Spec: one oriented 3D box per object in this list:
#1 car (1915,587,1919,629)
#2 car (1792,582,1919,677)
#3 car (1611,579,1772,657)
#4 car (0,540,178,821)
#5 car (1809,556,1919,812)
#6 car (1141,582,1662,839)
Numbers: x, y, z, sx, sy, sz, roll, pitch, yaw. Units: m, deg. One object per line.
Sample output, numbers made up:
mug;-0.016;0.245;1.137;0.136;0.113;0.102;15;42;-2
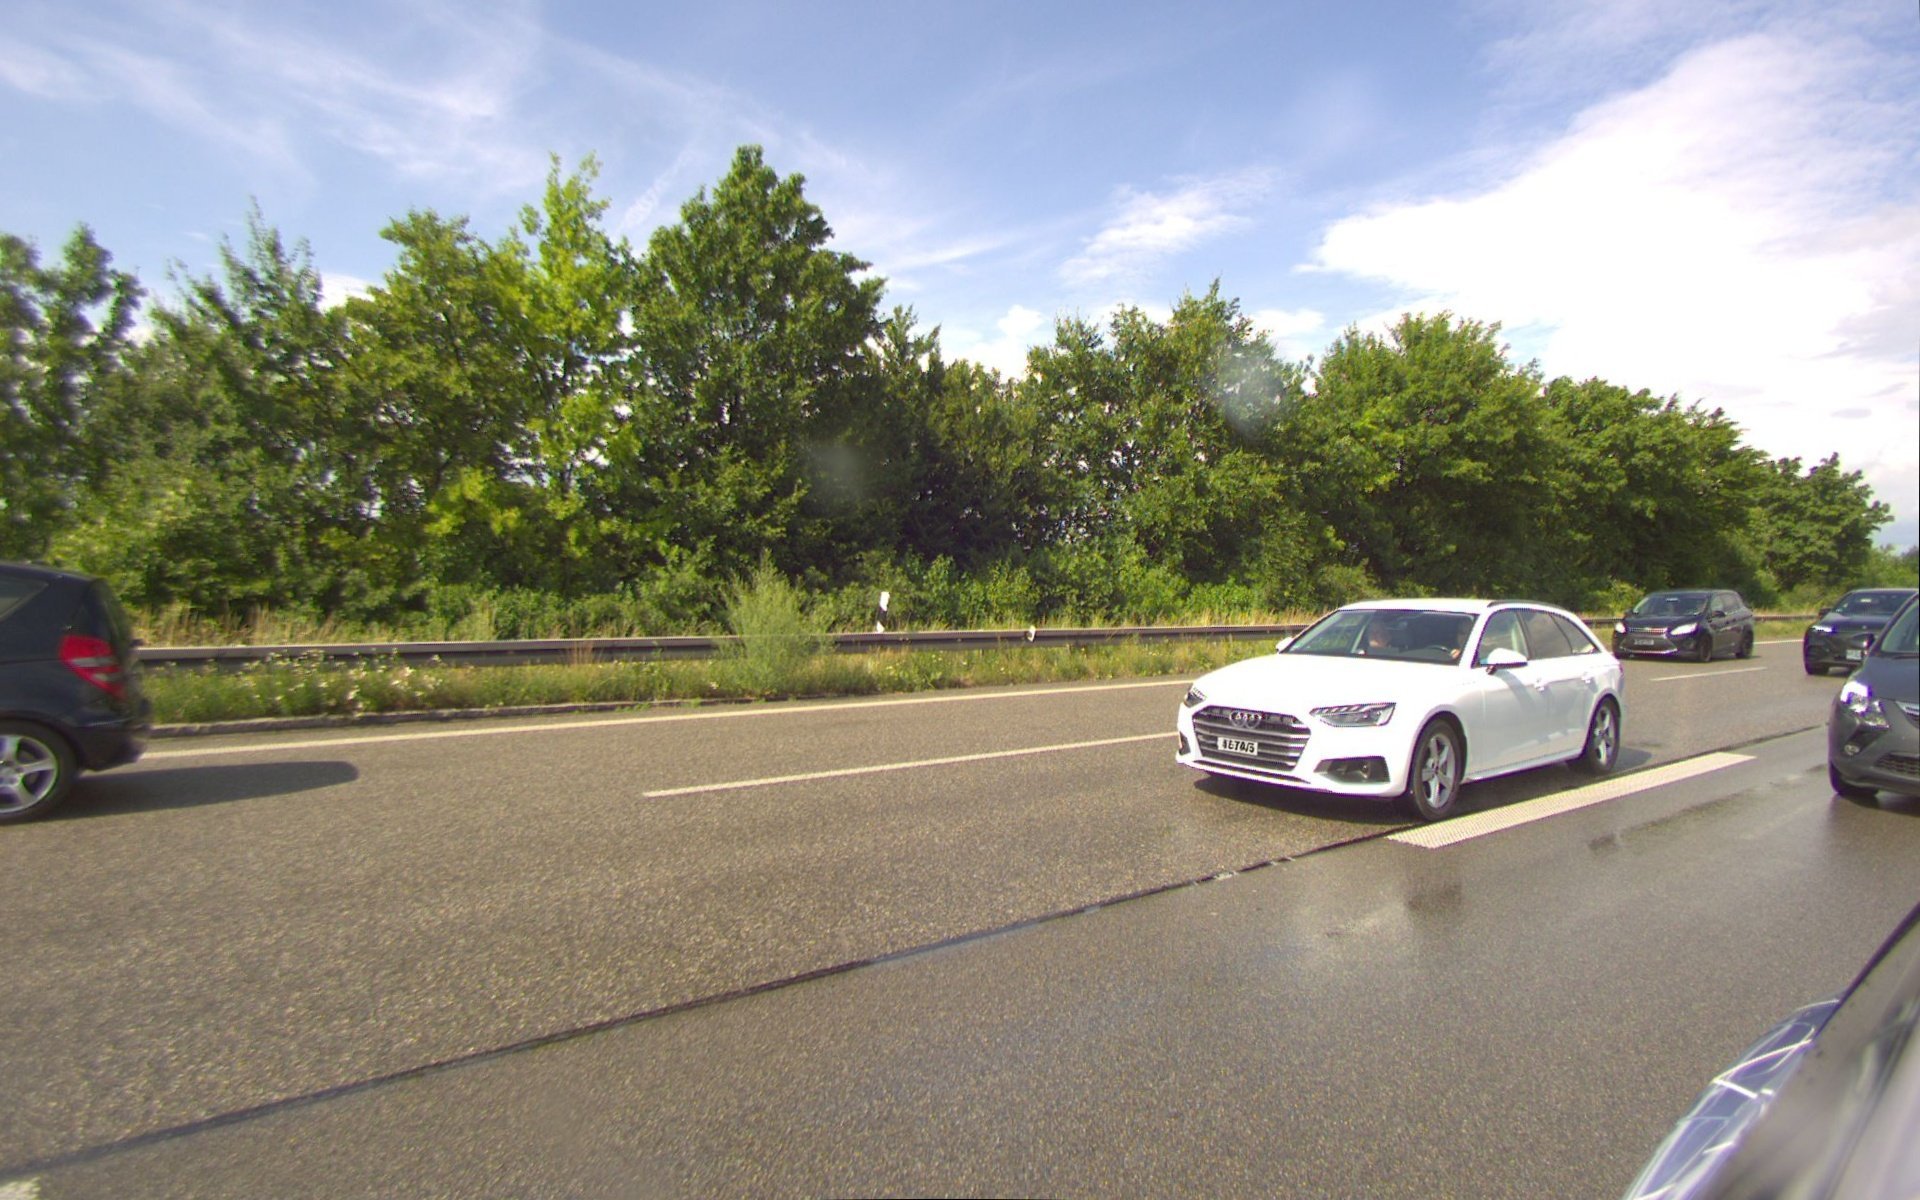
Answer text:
car;38.927;0.284;39.495;4.207;1.606;1.753;-1;1;-37
car;17.761;0.488;19.216;4.567;1.601;1.999;0;1;-37
car;16.807;0.364;23.198;4.282;1.641;1.826;0;0;-37
car;-6.942;0.456;5.737;3.926;1.588;1.854;-1;1;-37
car;8.193;0.549;7.580;4.315;1.668;1.884;0;1;-37
car;3.627;0.612;7.955;4.428;1.443;1.832;-1;2;-38
